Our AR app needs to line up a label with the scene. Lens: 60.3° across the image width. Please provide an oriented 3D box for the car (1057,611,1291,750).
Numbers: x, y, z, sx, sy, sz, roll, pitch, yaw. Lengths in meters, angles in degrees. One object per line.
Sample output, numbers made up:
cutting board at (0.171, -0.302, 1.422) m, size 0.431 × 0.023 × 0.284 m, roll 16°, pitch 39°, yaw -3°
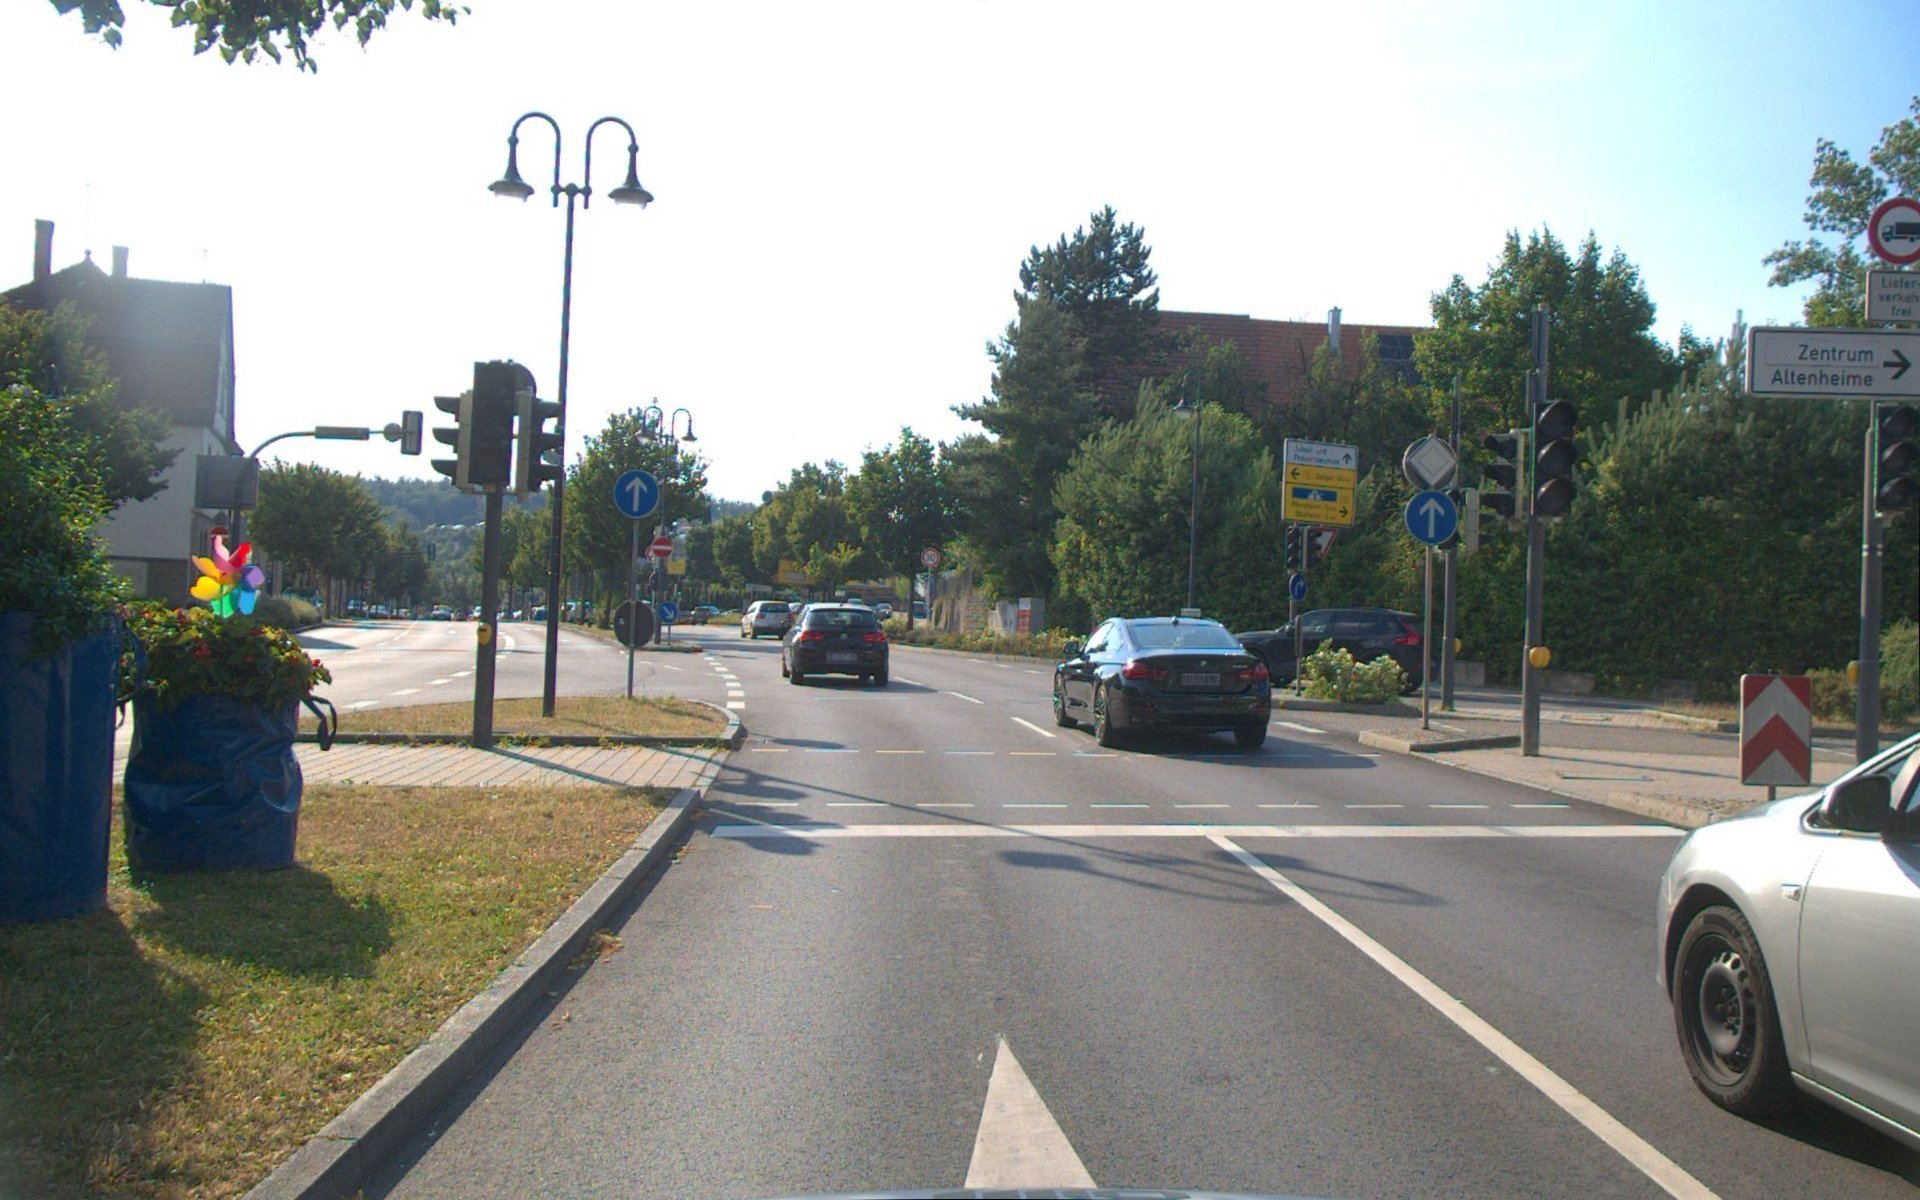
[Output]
car at (2.311, 0.841, 18.982) m, size 1.882 × 1.388 × 4.350 m, roll 1°, pitch -1°, yaw -3°

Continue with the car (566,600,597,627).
car at (-26.116, 0.888, 114.044) m, size 1.729 × 1.800 × 3.950 m, roll 1°, pitch 0°, yaw -18°

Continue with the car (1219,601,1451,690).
car at (7.488, 0.872, 33.147) m, size 4.183 × 1.594 × 1.787 m, roll 1°, pitch 0°, yaw 34°

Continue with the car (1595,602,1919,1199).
car at (3.232, 0.793, 3.881) m, size 1.686 × 1.516 × 4.304 m, roll 1°, pitch 0°, yaw -2°

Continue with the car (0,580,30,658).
car at (-20.270, 0.324, 30.768) m, size 4.770 × 1.462 × 1.912 m, roll 1°, pitch -1°, yaw -10°

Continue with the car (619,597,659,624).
car at (-21.899, 0.694, 112.678) m, size 2.182 × 1.800 × 4.431 m, roll 1°, pitch 0°, yaw -18°

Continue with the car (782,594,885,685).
car at (-2.405, 0.696, 30.674) m, size 1.688 × 1.516 × 4.346 m, roll 2°, pitch 0°, yaw -7°

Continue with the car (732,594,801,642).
car at (-7.710, 0.682, 65.620) m, size 1.895 × 1.800 × 4.431 m, roll 1°, pitch 0°, yaw -18°

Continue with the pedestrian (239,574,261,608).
pedestrian at (-30.607, -0.390, 71.282) m, size 0.800 × 1.418 × 0.703 m, roll 1°, pitch 0°, yaw -19°

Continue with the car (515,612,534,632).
car at (-45.546, 2.305, 172.964) m, size 1.742 × 2.049 × 3.986 m, roll 1°, pitch 0°, yaw -13°

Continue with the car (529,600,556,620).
car at (-39.414, 0.941, 156.194) m, size 2.182 × 1.800 × 4.431 m, roll 1°, pitch 0°, yaw -18°

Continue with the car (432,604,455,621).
car at (-45.079, 1.070, 144.383) m, size 1.727 × 1.385 × 4.465 m, roll 1°, pitch 0°, yaw -16°
